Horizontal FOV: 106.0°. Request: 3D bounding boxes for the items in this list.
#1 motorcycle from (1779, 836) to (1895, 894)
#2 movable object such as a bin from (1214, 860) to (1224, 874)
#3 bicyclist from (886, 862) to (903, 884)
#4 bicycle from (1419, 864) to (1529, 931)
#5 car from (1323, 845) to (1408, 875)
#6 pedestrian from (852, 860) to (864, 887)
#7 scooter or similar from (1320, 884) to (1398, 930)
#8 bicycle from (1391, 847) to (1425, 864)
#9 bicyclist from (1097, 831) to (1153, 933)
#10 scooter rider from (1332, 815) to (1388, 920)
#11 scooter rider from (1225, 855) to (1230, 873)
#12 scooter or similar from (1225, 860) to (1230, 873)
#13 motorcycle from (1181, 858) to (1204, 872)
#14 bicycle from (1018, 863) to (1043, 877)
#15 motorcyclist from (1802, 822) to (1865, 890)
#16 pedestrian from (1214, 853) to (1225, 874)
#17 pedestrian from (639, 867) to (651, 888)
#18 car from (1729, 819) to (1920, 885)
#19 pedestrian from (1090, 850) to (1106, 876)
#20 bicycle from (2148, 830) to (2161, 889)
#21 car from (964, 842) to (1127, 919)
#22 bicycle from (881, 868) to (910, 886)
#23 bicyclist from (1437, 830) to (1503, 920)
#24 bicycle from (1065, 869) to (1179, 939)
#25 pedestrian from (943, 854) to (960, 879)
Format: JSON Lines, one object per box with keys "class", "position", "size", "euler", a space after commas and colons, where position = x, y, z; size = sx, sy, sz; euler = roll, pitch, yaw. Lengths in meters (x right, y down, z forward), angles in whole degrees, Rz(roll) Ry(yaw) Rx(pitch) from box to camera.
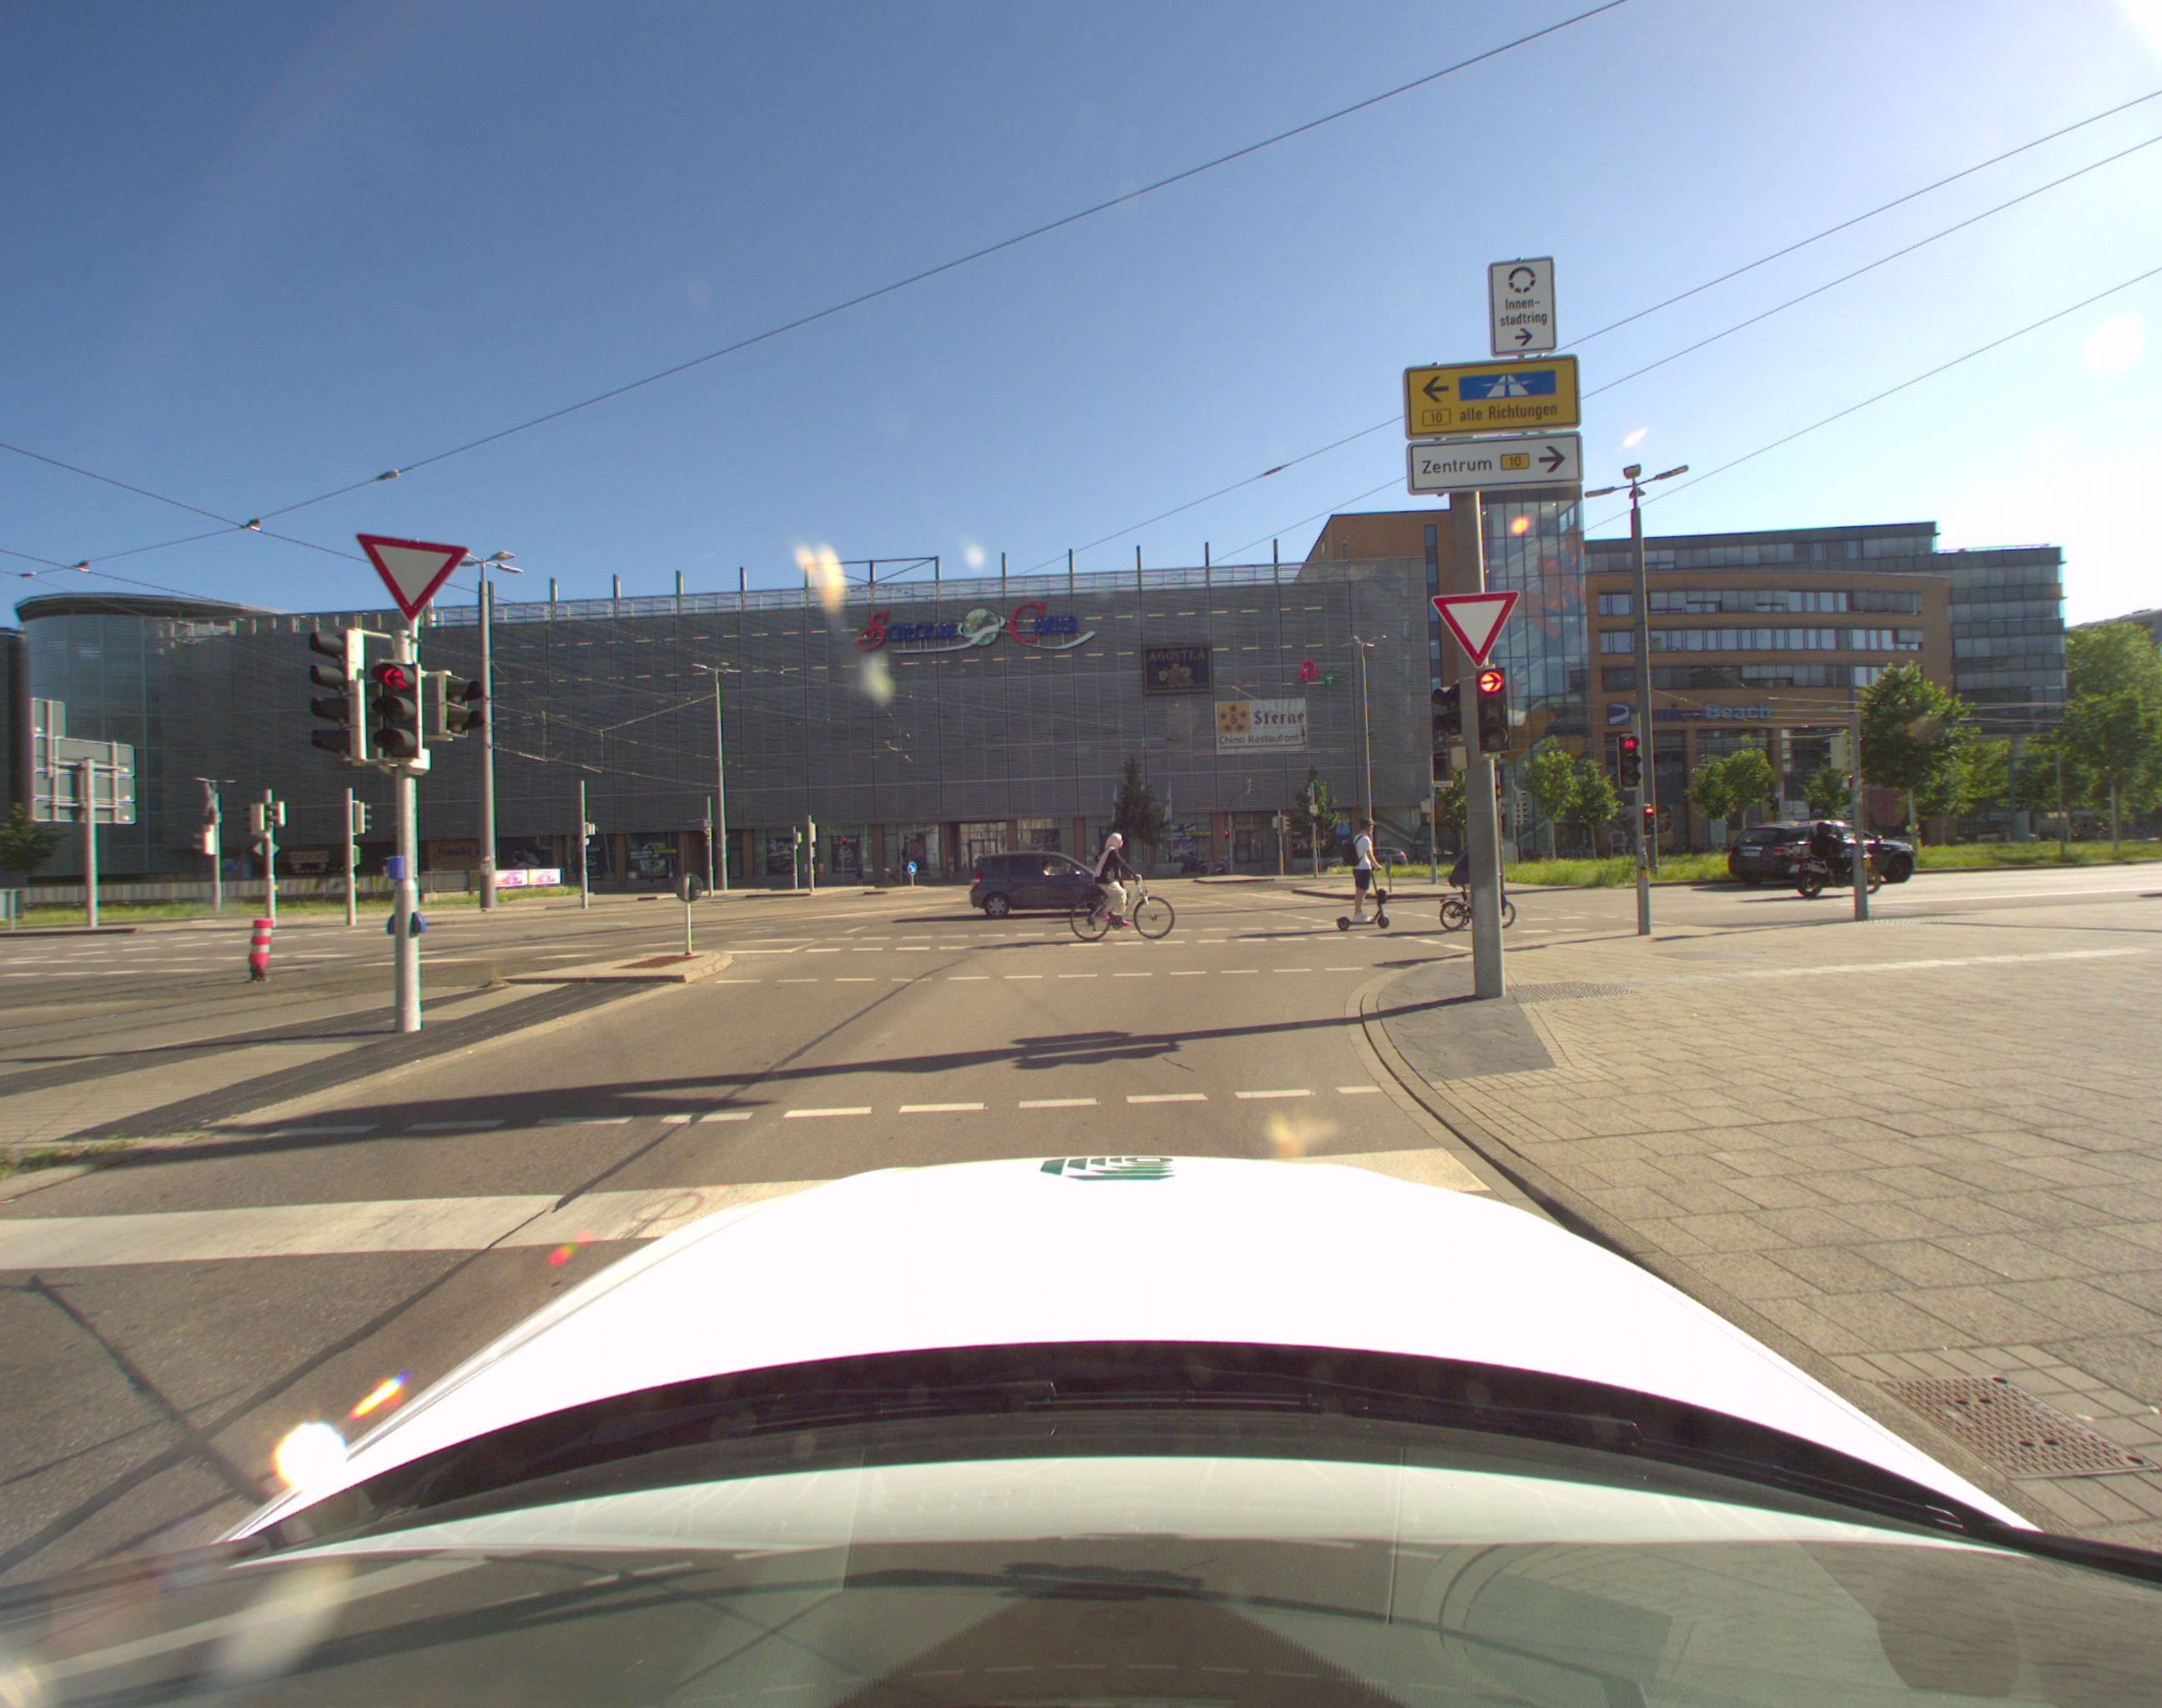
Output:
{"class": "motorcycle", "position": [17.473, 0.247, 18.839], "size": [2.259, 1.282, 0.586], "euler": [-1, -1, -5]}
{"class": "movable object such as a bin", "position": [9.267, 0.879, 54.735], "size": [0.608, 0.904, 0.972], "euler": [-1, -1, 12]}
{"class": "bicyclist", "position": [-12.633, 1.270, 55.234], "size": [0.667, 1.427, 0.855], "euler": [-1, 2, 45]}
{"class": "bicycle", "position": [7.066, 0.763, 14.650], "size": [1.753, 1.137, 0.585], "euler": [0, -1, -9]}
{"class": "car", "position": [15.878, 0.347, 45.615], "size": [4.132, 1.470, 1.841], "euler": [2, -1, 0]}
{"class": "pedestrian", "position": [-15.207, 1.306, 55.459], "size": [0.695, 1.797, 0.727], "euler": [-3, 0, -14]}
{"class": "scooter or similar", "position": [5.083, 0.957, 14.918], "size": [1.208, 0.786, 0.613], "euler": [0, -1, -9]}
{"class": "bicycle", "position": [24.338, 0.110, 60.613], "size": [2.247, 1.296, 0.606], "euler": [0, -1, 0]}
{"class": "bicyclist", "position": [0.748, 0.478, 14.003], "size": [0.881, 1.707, 0.573], "euler": [0, -1, -5]}
{"class": "scooter rider", "position": [5.115, 0.238, 14.937], "size": [0.783, 1.872, 0.572], "euler": [0, -1, -8]}
{"class": "scooter rider", "position": [9.903, 0.703, 54.944], "size": [0.286, 1.200, 0.387], "euler": [-1, -1, 12]}
{"class": "scooter or similar", "position": [9.915, 0.867, 55.003], "size": [0.293, 0.873, 1.007], "euler": [-1, -1, 12]}
{"class": "motorcycle", "position": [8.308, 0.828, 60.591], "size": [1.630, 1.004, 0.448], "euler": [0, 0, 8]}
{"class": "bicycle", "position": [-3.786, 1.170, 60.787], "size": [1.815, 0.989, 0.556], "euler": [-2, 1, -8]}
{"class": "motorcyclist", "position": [17.392, 0.042, 18.837], "size": [0.898, 1.535, 0.586], "euler": [-1, -1, -4]}
{"class": "pedestrian", "position": [9.400, 0.628, 55.198], "size": [0.650, 1.414, 0.853], "euler": [-1, -1, 12]}
{"class": "pedestrian", "position": [-34.129, 1.850, 63.749], "size": [0.654, 1.601, 0.597], "euler": [-1, -1, 20]}
{"class": "car", "position": [20.130, -0.067, 22.114], "size": [4.186, 1.646, 1.641], "euler": [-2, 0, -11]}
{"class": "pedestrian", "position": [1.270, 0.645, 59.478], "size": [1.007, 1.828, 1.037], "euler": [-3, 0, 5]}
{"class": "bicycle", "position": [23.904, 0.103, 17.305], "size": [2.033, 1.257, 0.585], "euler": [0, -1, -9]}
{"class": "car", "position": [-0.855, 0.595, 19.379], "size": [3.683, 1.646, 1.644], "euler": [-1, 0, -5]}
{"class": "bicycle", "position": [-12.590, 1.581, 55.307], "size": [0.562, 1.086, 1.874], "euler": [-1, 2, 45]}
{"class": "bicyclist", "position": [6.987, 0.368, 14.645], "size": [0.882, 1.566, 0.572], "euler": [0, -1, -8]}
{"class": "bicycle", "position": [0.685, 0.842, 13.991], "size": [1.897, 1.137, 0.580], "euler": [-1, -1, -5]}
{"class": "pedestrian", "position": [-9.636, 0.943, 60.743], "size": [0.945, 1.828, 0.848], "euler": [-3, 0, 7]}
